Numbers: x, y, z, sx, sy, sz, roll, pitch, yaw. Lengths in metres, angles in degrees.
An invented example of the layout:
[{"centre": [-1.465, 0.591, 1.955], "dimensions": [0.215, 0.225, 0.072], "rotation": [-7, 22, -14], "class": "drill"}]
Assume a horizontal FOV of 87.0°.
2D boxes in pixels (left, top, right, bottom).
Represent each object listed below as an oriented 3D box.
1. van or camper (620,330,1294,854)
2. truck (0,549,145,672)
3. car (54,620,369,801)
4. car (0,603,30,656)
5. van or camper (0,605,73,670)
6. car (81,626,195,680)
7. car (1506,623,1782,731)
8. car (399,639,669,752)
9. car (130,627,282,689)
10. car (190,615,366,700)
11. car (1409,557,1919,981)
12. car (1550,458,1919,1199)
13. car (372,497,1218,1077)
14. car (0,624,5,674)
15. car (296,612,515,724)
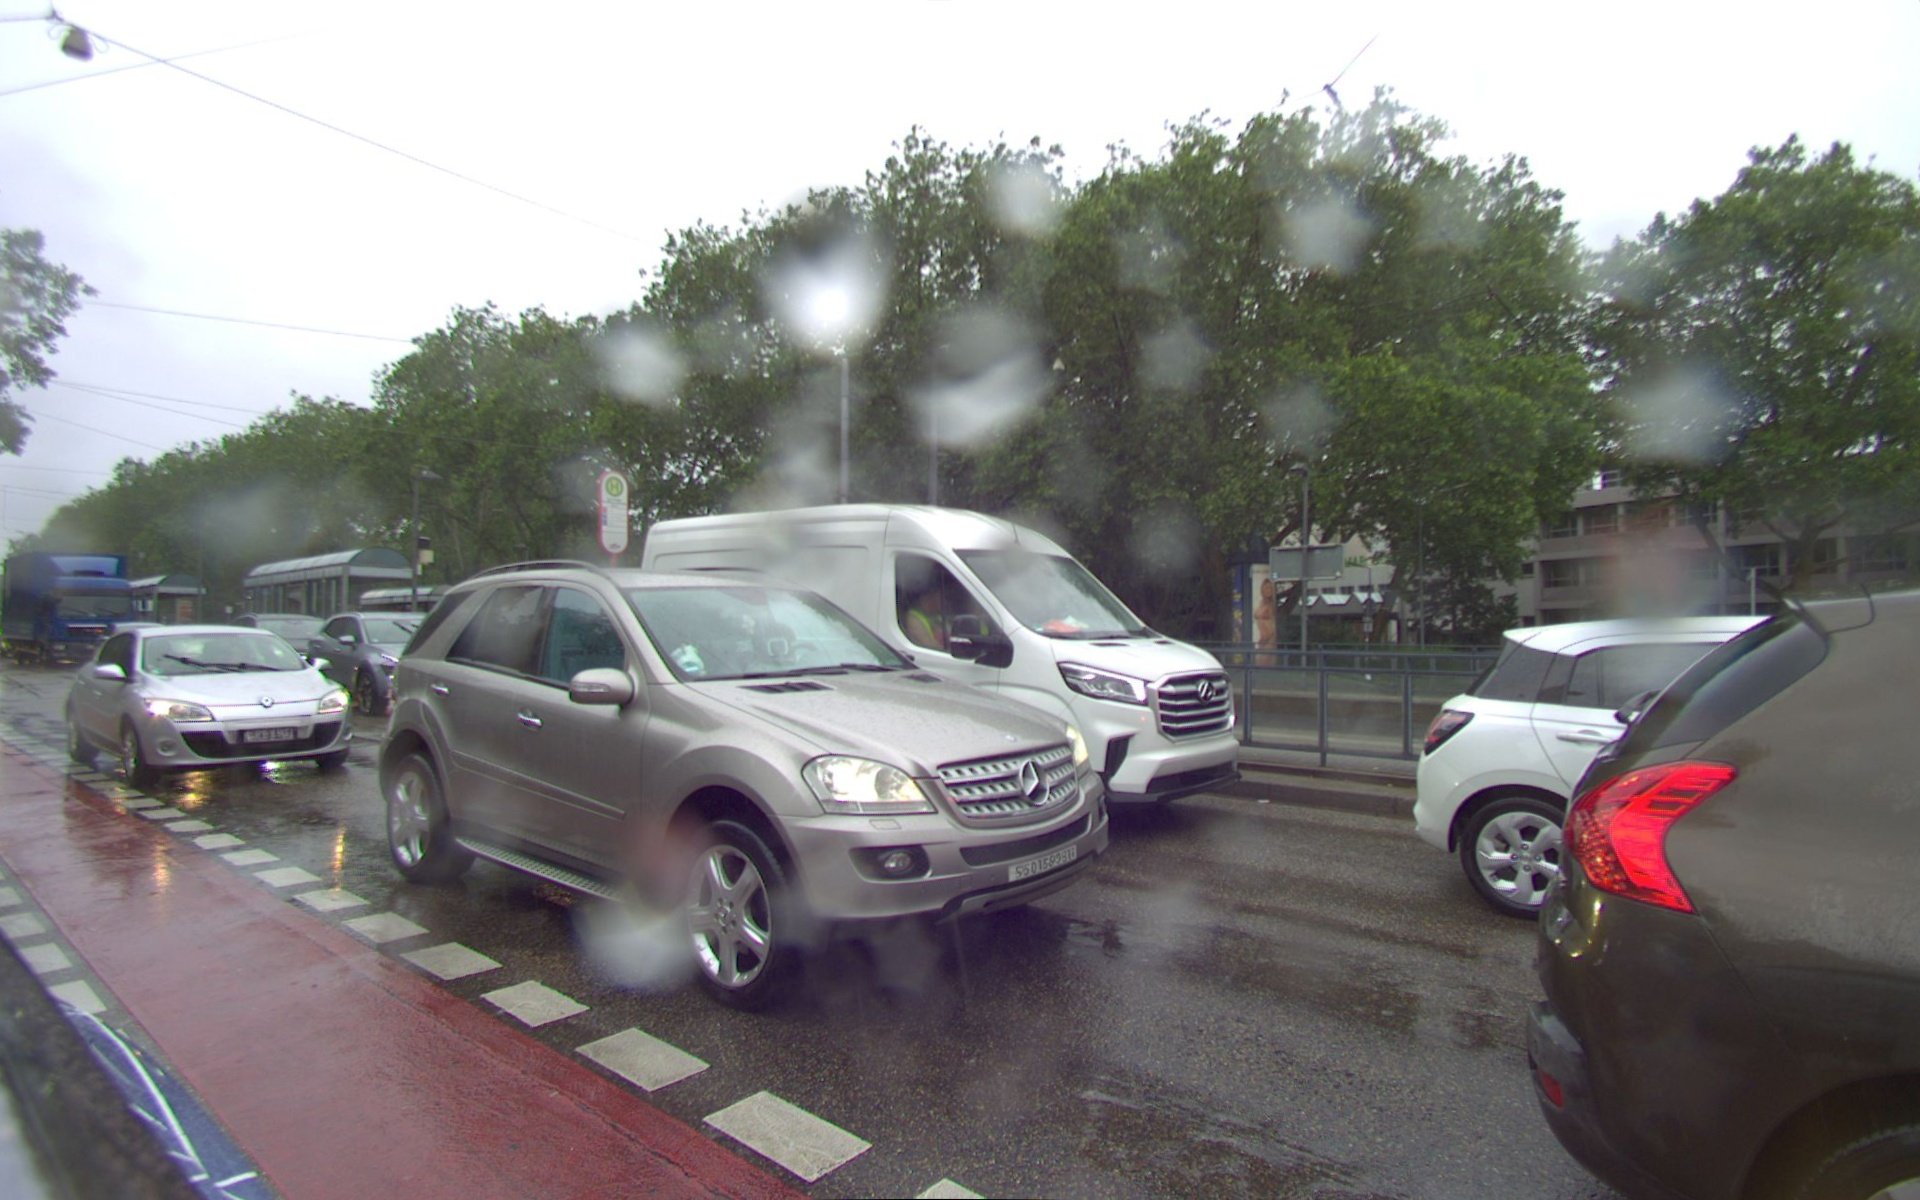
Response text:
[{"centre": [-0.367, 0.015, 8.806], "dimensions": [5.846, 3.166, 2.136], "rotation": [-1, -2, 40], "class": "van or camper"}, {"centre": [-32.223, 0.450, 36.365], "dimensions": [9.803, 3.919, 2.513], "rotation": [-1, -3, 40], "class": "truck"}, {"centre": [-7.813, 0.967, 10.431], "dimensions": [3.998, 1.489, 1.750], "rotation": [-1, -1, 40], "class": "car"}, {"centre": [-46.712, 1.409, 49.066], "dimensions": [5.727, 2.445, 1.972], "rotation": [-1, 0, 43], "class": "car"}, {"centre": [-40.043, 1.567, 43.540], "dimensions": [6.427, 2.590, 1.973], "rotation": [-1, 0, 41], "class": "van or camper"}, {"centre": [-24.498, 1.523, 30.131], "dimensions": [4.074, 1.498, 1.871], "rotation": [-1, -2, 40], "class": "car"}, {"centre": [12.530, 1.301, 18.651], "dimensions": [3.998, 1.735, 1.973], "rotation": [-1, -1, 41], "class": "car"}, {"centre": [-5.449, 1.096, 12.706], "dimensions": [4.084, 1.126, 1.448], "rotation": [-1, -1, 40], "class": "car"}, {"centre": [-18.830, 1.383, 25.198], "dimensions": [4.602, 1.405, 1.973], "rotation": [-1, -3, 40], "class": "car"}, {"centre": [-14.648, 1.165, 21.673], "dimensions": [4.316, 1.633, 1.974], "rotation": [-1, -2, 40], "class": "car"}, {"centre": [4.277, 0.670, 4.538], "dimensions": [3.834, 1.641, 1.628], "rotation": [-1, -2, 41], "class": "car"}, {"centre": [3.287, 0.594, 1.232], "dimensions": [4.170, 1.681, 1.815], "rotation": [-1, -1, 41], "class": "car"}, {"centre": [-1.157, 0.608, 5.338], "dimensions": [4.459, 1.783, 2.004], "rotation": [-1, -1, 40], "class": "car"}, {"centre": [-32.569, 1.562, 32.816], "dimensions": [3.997, 1.590, 1.875], "rotation": [-1, -2, 40], "class": "car"}, {"centre": [-9.429, 1.058, 17.055], "dimensions": [4.454, 1.636, 1.894], "rotation": [-1, -2, 43], "class": "car"}]
